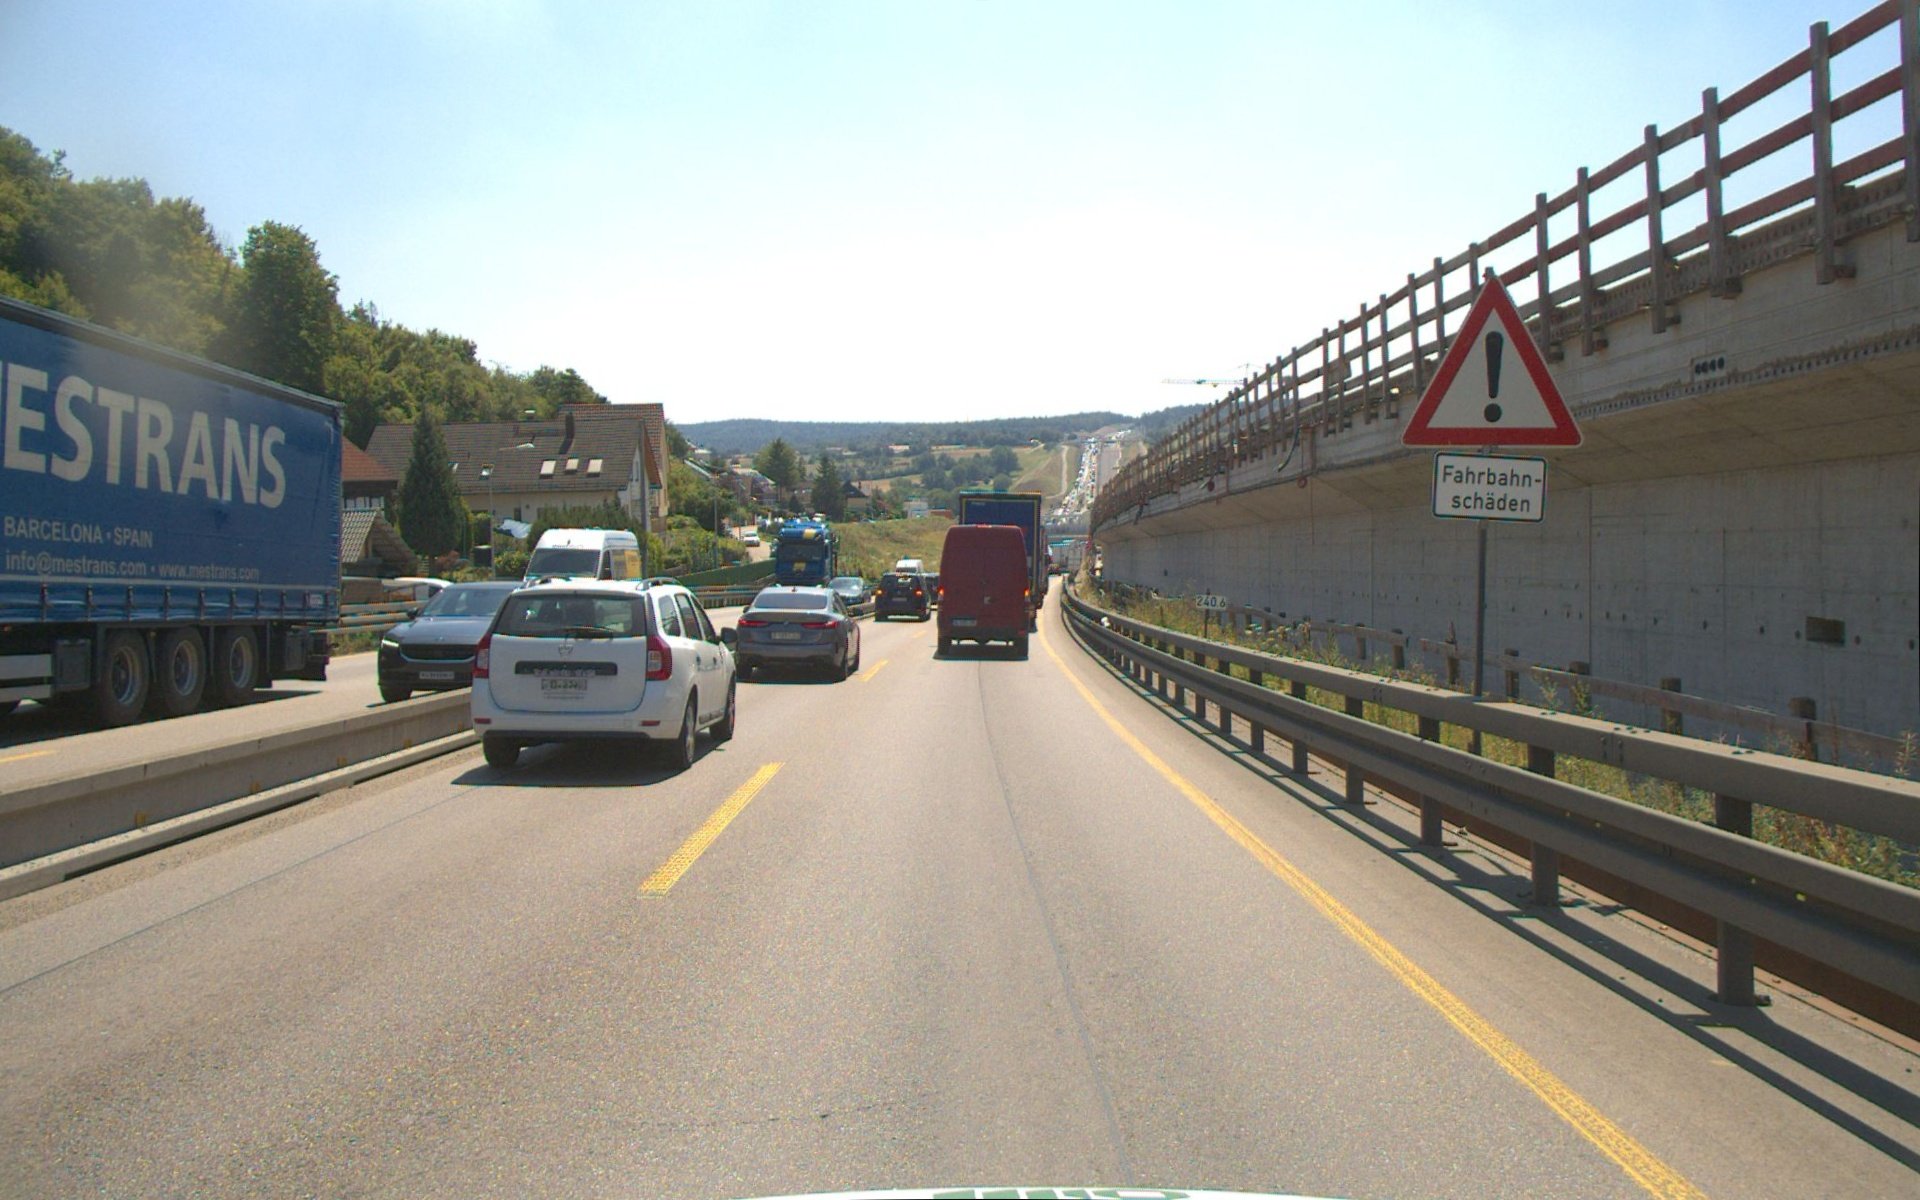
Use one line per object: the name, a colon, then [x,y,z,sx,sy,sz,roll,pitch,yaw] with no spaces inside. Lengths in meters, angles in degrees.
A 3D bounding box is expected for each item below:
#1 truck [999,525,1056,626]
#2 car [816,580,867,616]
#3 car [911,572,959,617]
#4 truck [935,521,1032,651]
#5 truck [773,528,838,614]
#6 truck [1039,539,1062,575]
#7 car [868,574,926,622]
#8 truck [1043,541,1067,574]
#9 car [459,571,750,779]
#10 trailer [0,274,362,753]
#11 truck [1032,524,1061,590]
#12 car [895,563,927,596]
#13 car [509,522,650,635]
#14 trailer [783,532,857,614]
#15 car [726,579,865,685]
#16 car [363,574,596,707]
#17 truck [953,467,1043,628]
truck: [3.367,-1.127,84.777,2.728,4.900,9.686,0,-1,1]
car: [-4.975,-0.109,69.837,1.512,1.489,4.631,0,1,4]
car: [-1.061,-0.220,71.214,1.693,1.870,4.002,0,-1,4]
truck: [0.505,-0.252,35.335,1.952,2.624,4.000,0,-1,1]
truck: [-7.530,-1.346,81.000,2.456,4.034,5.176,0,-1,2]
truck: [12.221,-5.759,222.992,3.004,4.458,8.561,0,-1,4]
car: [-2.155,-0.044,57.475,1.773,1.636,3.719,0,-1,1]
truck: [14.031,-6.252,243.880,3.394,4.458,8.561,0,-1,4]
car: [-2.956,0.578,14.630,1.618,1.509,4.266,-2,0,0]
trailer: [-9.809,-0.776,16.697,3.070,4.151,11.820,0,1,1]
truck: [6.086,-2.989,116.610,1.951,4.458,4.002,0,-1,4]
car: [-3.918,-1.648,134.128,1.951,2.551,5.518,0,-1,5]
car: [-9.520,-0.534,41.890,1.963,2.649,5.981,0,1,2]
trailer: [-7.267,-1.314,87.532,2.456,4.034,11.402,0,0,2]
car: [-2.591,0.503,26.906,1.758,1.511,4.049,3,-1,0]
car: [-6.194,0.452,21.882,1.813,1.573,4.558,0,1,-1]
truck: [1.293,-1.527,55.258,2.728,4.900,9.686,0,-1,1]
